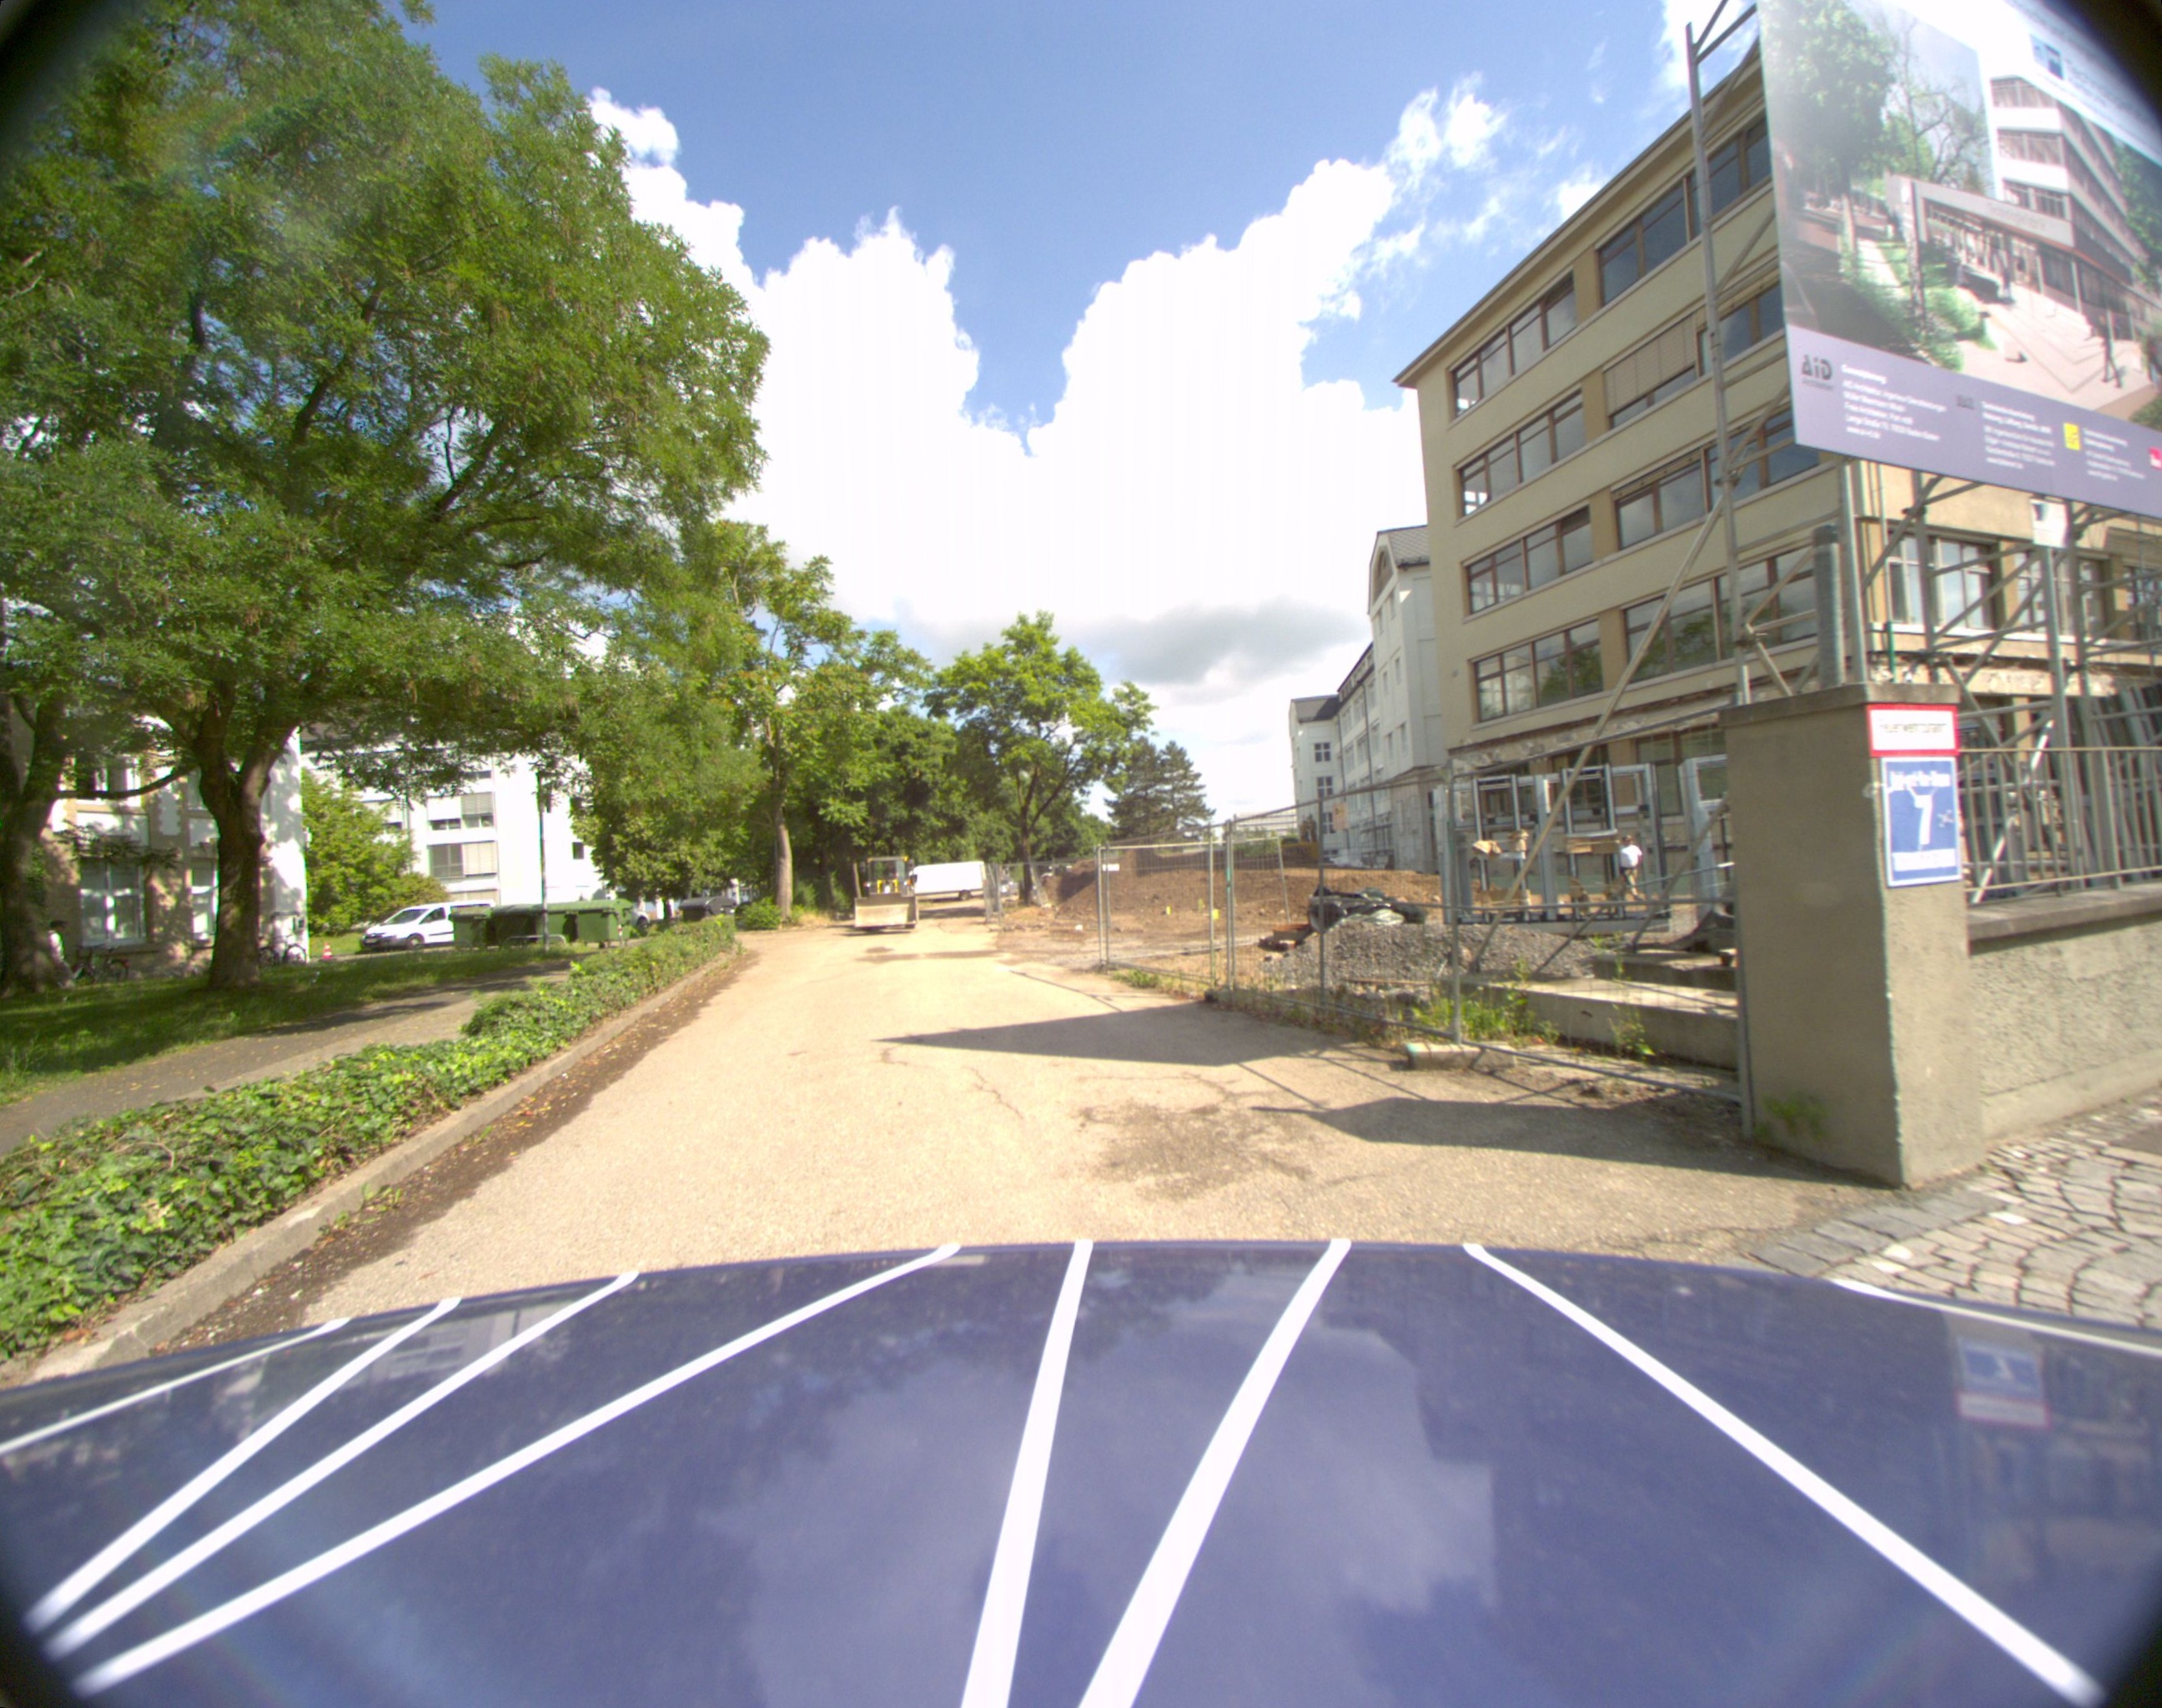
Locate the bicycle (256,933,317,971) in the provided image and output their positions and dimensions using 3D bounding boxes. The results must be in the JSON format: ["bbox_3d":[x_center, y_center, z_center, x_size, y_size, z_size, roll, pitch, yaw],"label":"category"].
[{"bbox_3d":[-22.899,2.824,21.905,1.456,0.981,0.427,-3,-2,8],"label":"bicycle"}]

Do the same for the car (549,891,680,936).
[{"bbox_3d":[-19.556,2.444,32.192,1.808,1.488,5.096,-4,-1,8],"label":"car"}]

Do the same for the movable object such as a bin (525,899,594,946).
[{"bbox_3d":[-15.423,2.016,22.499,1.254,1.258,1.000,-3,0,6],"label":"movable object such as a bin"}]

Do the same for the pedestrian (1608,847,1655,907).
[{"bbox_3d":[12.701,0.533,17.540,0.462,1.305,0.635,-7,-2,1],"label":"pedestrian"}]

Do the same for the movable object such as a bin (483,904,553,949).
[{"bbox_3d":[-16.807,2.148,22.703,1.272,1.213,1.029,-3,0,6],"label":"movable object such as a bin"}]

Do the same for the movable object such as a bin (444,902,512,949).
[{"bbox_3d":[-18.205,2.148,22.966,1.190,1.285,1.004,-3,0,6],"label":"movable object such as a bin"}]

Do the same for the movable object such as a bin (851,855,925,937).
[{"bbox_3d":[-6.393,1.294,25.719,2.000,2.429,5.428,-2,0,-10],"label":"movable object such as a bin"}]

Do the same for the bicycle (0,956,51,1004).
[{"bbox_3d":[-23.733,2.784,16.730,1.818,0.981,0.427,-3,-2,8],"label":"bicycle"}]

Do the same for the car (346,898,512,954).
[{"bbox_3d":[-27.718,2.988,32.585,2.036,1.851,5.098,-4,-1,13],"label":"car"}]

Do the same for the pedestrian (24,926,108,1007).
[{"bbox_3d":[-21.795,2.398,16.331,0.569,1.613,0.859,-4,-1,5],"label":"pedestrian"}]

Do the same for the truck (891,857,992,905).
[{"bbox_3d":[-9.564,1.828,52.707,6.556,2.762,1.998,-3,2,-5],"label":"truck"}]

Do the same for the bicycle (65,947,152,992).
[{"bbox_3d":[-23.589,2.793,18.435,1.818,0.981,0.427,-3,-2,8],"label":"bicycle"}]

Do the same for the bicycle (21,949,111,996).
[{"bbox_3d":[-23.662,2.767,17.716,1.818,0.981,0.427,-3,-2,8],"label":"bicycle"}]

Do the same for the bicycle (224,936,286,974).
[{"bbox_3d":[-23.083,2.816,21.232,1.456,0.981,0.427,-3,-2,9],"label":"bicycle"}]

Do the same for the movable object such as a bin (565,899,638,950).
[{"bbox_3d":[-14.063,2.047,22.328,1.365,1.344,1.094,-3,0,6],"label":"movable object such as a bin"}]

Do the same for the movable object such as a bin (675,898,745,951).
[{"bbox_3d":[-10.391,1.959,21.276,1.321,1.349,1.132,-3,0,28],"label":"movable object such as a bin"}]
